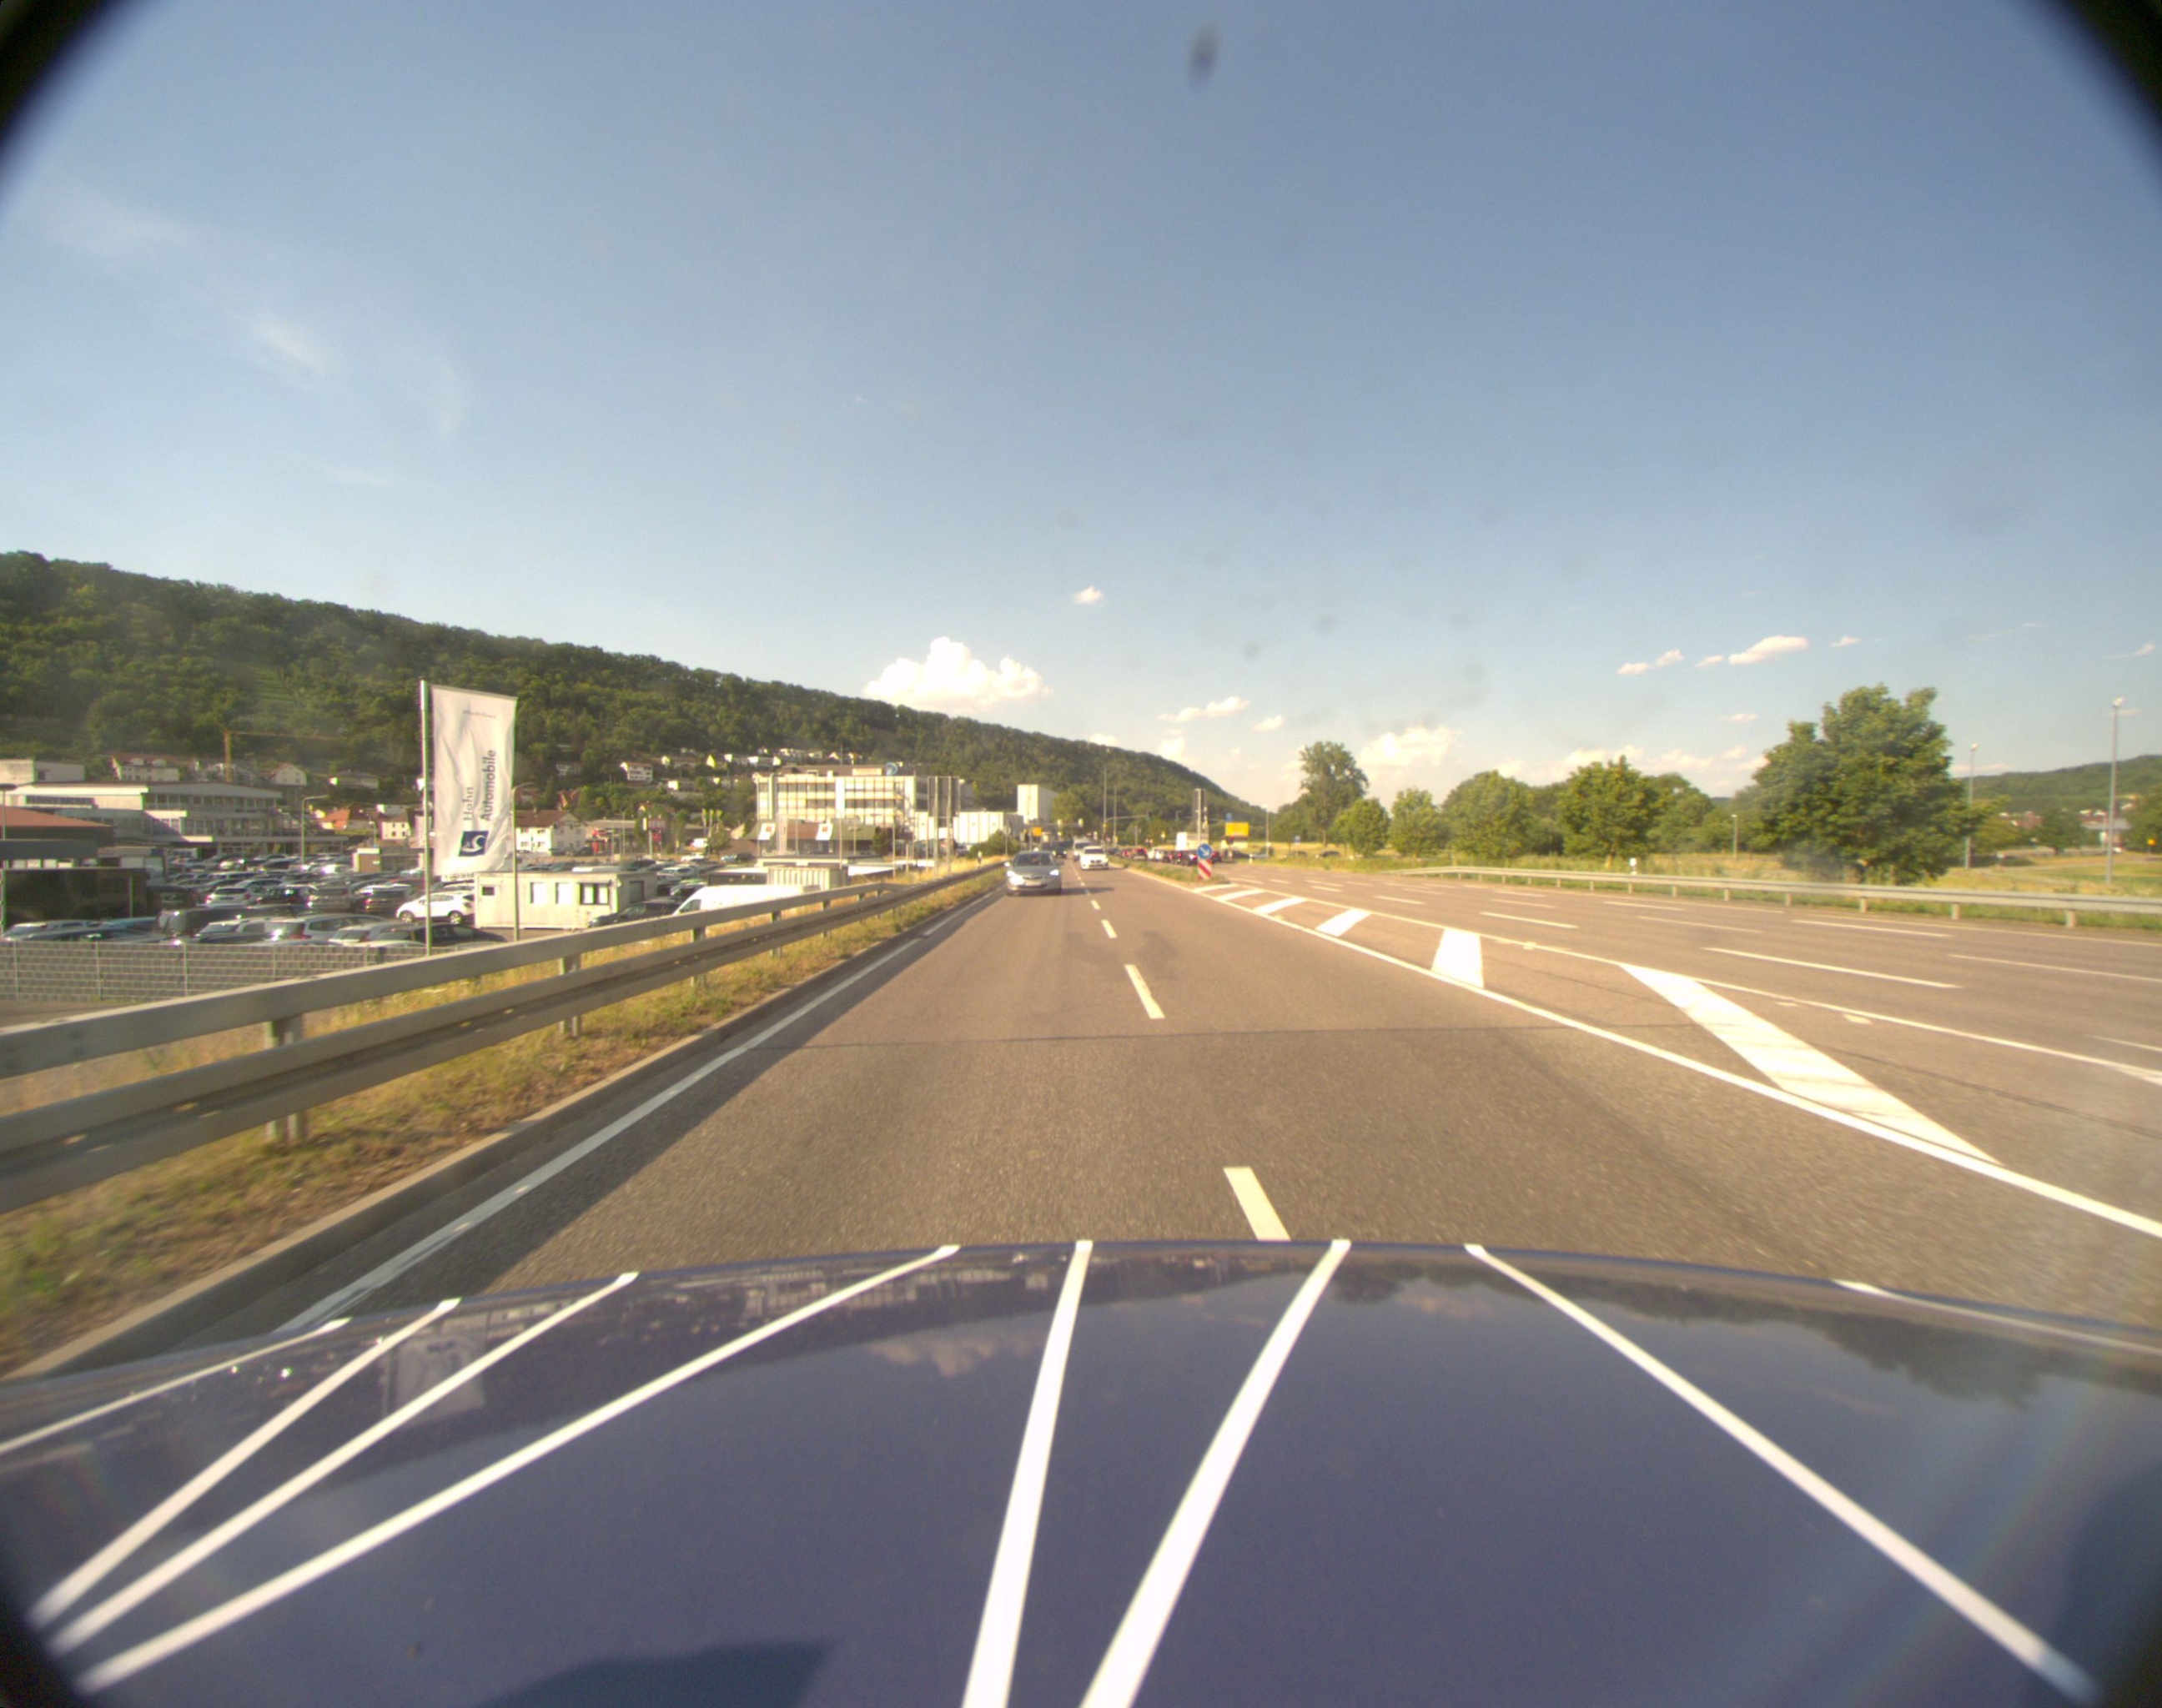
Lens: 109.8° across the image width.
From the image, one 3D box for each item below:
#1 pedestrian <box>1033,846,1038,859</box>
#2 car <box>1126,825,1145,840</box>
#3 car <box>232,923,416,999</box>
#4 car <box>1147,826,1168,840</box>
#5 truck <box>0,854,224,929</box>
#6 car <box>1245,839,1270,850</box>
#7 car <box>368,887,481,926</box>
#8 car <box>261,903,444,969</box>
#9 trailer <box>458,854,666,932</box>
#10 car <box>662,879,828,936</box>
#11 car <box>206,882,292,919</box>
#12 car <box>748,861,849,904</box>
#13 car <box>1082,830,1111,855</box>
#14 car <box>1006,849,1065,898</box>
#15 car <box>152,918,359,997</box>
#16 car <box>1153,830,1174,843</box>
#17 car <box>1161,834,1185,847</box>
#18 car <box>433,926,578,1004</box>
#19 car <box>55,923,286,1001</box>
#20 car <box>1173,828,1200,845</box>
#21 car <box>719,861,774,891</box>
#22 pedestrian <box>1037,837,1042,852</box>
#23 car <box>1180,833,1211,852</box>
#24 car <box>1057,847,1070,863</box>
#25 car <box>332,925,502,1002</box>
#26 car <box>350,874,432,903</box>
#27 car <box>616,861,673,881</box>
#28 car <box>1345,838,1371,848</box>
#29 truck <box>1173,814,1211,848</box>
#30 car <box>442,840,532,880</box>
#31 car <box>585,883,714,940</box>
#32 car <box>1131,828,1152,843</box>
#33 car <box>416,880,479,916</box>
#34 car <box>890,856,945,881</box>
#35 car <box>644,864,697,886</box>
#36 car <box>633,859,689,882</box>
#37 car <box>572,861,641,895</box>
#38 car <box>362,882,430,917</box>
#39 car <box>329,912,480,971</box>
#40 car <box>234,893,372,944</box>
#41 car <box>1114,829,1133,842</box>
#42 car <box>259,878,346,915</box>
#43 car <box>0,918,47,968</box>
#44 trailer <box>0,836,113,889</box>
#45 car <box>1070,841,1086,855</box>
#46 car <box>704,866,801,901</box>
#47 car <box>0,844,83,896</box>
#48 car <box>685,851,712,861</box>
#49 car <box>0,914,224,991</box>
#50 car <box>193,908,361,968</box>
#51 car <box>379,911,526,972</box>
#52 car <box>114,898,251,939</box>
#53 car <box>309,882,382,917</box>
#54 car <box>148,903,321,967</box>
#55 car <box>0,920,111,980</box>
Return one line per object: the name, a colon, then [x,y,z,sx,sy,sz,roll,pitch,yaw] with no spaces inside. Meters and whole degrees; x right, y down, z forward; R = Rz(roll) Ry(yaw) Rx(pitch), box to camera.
pedestrian: [-6.007,-0.200,101.251,0.532,1.740,0.537,3,3,4]
car: [6.118,-2.365,85.352,1.785,1.529,4.570,1,0,-1]
car: [-22.548,3.125,22.848,1.600,1.602,3.668,-2,2,5]
car: [9.308,-2.627,93.014,1.999,1.669,4.804,1,2,-1]
truck: [-37.704,1.325,29.368,1.998,2.357,5.968,-2,2,3]
car: [28.871,-1.632,124.349,3.703,1.609,1.589,-3,3,-19]
car: [-32.008,2.554,37.100,3.996,1.648,1.805,0,3,3]
car: [-26.238,2.894,27.649,1.970,1.692,4.497,-2,2,6]
trailer: [-25.323,1.853,37.361,7.897,3.304,3.358,-2,3,4]
car: [-13.741,2.174,31.317,5.895,2.003,1.999,-2,3,3]
car: [-46.724,2.572,42.776,1.771,1.675,3.665,-3,3,-23]
car: [-13.377,1.337,36.170,3.996,1.740,1.901,-2,3,2]
car: [1.048,-0.837,52.000,1.825,1.552,3.998,-2,2,1]
car: [-1.439,0.585,25.471,1.690,1.383,3.882,-1,2,1]
car: [-24.613,3.033,22.893,1.600,1.685,3.915,-2,2,7]
car: [9.394,-1.989,86.605,1.706,1.397,5.078,1,2,-1]
car: [9.455,-1.375,78.383,1.706,1.276,4.817,1,1,-1]
car: [-17.000,3.230,22.693,1.601,1.602,3.665,-2,2,-3]
car: [-27.450,3.196,23.168,1.600,1.585,4.242,-2,2,6]
car: [9.764,-1.643,70.610,1.706,1.465,4.243,2,2,-2]
car: [-25.362,1.630,57.776,1.759,1.941,4.827,-2,2,3]
pedestrian: [-5.333,-1.268,98.121,0.620,1.873,0.861,0,3,-2]
car: [9.553,-0.960,63.711,1.720,1.456,4.725,2,1,-1]
car: [-2.483,0.098,106.556,1.795,2.156,4.587,0,2,-2]
car: [-19.662,3.201,22.733,1.600,1.602,3.668,-2,2,5]
car: [-44.837,2.215,49.437,1.802,1.607,3.443,-1,3,23]
car: [-40.665,1.579,70.912,1.757,1.557,4.483,-1,2,16]
car: [47.890,-1.864,131.277,4.263,1.609,1.588,-3,3,-20]
truck: [13.116,-2.793,90.906,2.940,3.670,10.494,2,2,0]
car: [-42.711,0.354,54.826,1.759,2.535,5.468,-2,2,3]
car: [-18.832,2.457,33.405,4.576,2.003,1.897,-3,3,-20]
car: [6.220,-1.918,78.520,1.785,1.512,3.998,1,2,-1]
car: [-34.317,2.366,41.276,1.683,1.561,3.767,-3,3,-25]
car: [-13.244,1.169,61.613,3.996,1.806,1.834,-2,3,2]
car: [-36.173,1.786,67.180,1.759,1.557,4.827,-2,2,3]
car: [-32.302,1.270,58.503,1.766,1.495,3.674,-1,2,11]
car: [-37.111,1.825,59.588,1.759,2.234,5.296,-2,2,3]
car: [-37.471,2.454,41.673,1.683,1.561,3.767,-3,3,-25]
car: [-23.957,3.054,27.110,1.600,1.503,3.866,-2,2,6]
car: [-33.351,2.726,32.722,1.600,1.691,3.891,-2,2,6]
car: [5.103,-2.217,91.260,1.795,1.458,4.926,0,2,-2]
car: [-43.263,2.324,42.347,1.770,1.674,3.666,-2,2,-17]
car: [-36.851,3.093,24.385,1.798,1.535,3.891,-2,2,5]
trailer: [-43.216,0.399,29.795,1.998,2.011,6.283,-2,2,5]
car: [-0.362,-0.720,84.074,1.690,1.383,3.882,-1,2,1]
car: [-17.950,1.609,41.696,4.332,1.739,2.131,-2,0,2]
car: [-53.521,0.856,37.128,1.998,2.425,5.327,-2,2,5]
car: [-62.850,0.287,124.908,3.649,1.412,1.689,-2,3,5]
car: [-29.511,2.904,23.155,1.600,1.585,4.285,-2,2,6]
car: [-28.873,2.972,27.483,1.600,1.555,3.891,-2,2,6]
car: [-21.974,2.995,26.817,1.601,1.498,4.177,1,2,2]
car: [-40.069,2.872,33.934,4.340,1.535,1.801,-2,3,7]
car: [-40.460,2.452,41.887,1.683,1.561,3.767,-3,3,-25]
car: [-31.297,2.931,28.305,1.600,1.792,4.019,-2,2,6]
car: [-34.304,3.144,24.108,1.798,1.535,3.891,-2,2,5]
